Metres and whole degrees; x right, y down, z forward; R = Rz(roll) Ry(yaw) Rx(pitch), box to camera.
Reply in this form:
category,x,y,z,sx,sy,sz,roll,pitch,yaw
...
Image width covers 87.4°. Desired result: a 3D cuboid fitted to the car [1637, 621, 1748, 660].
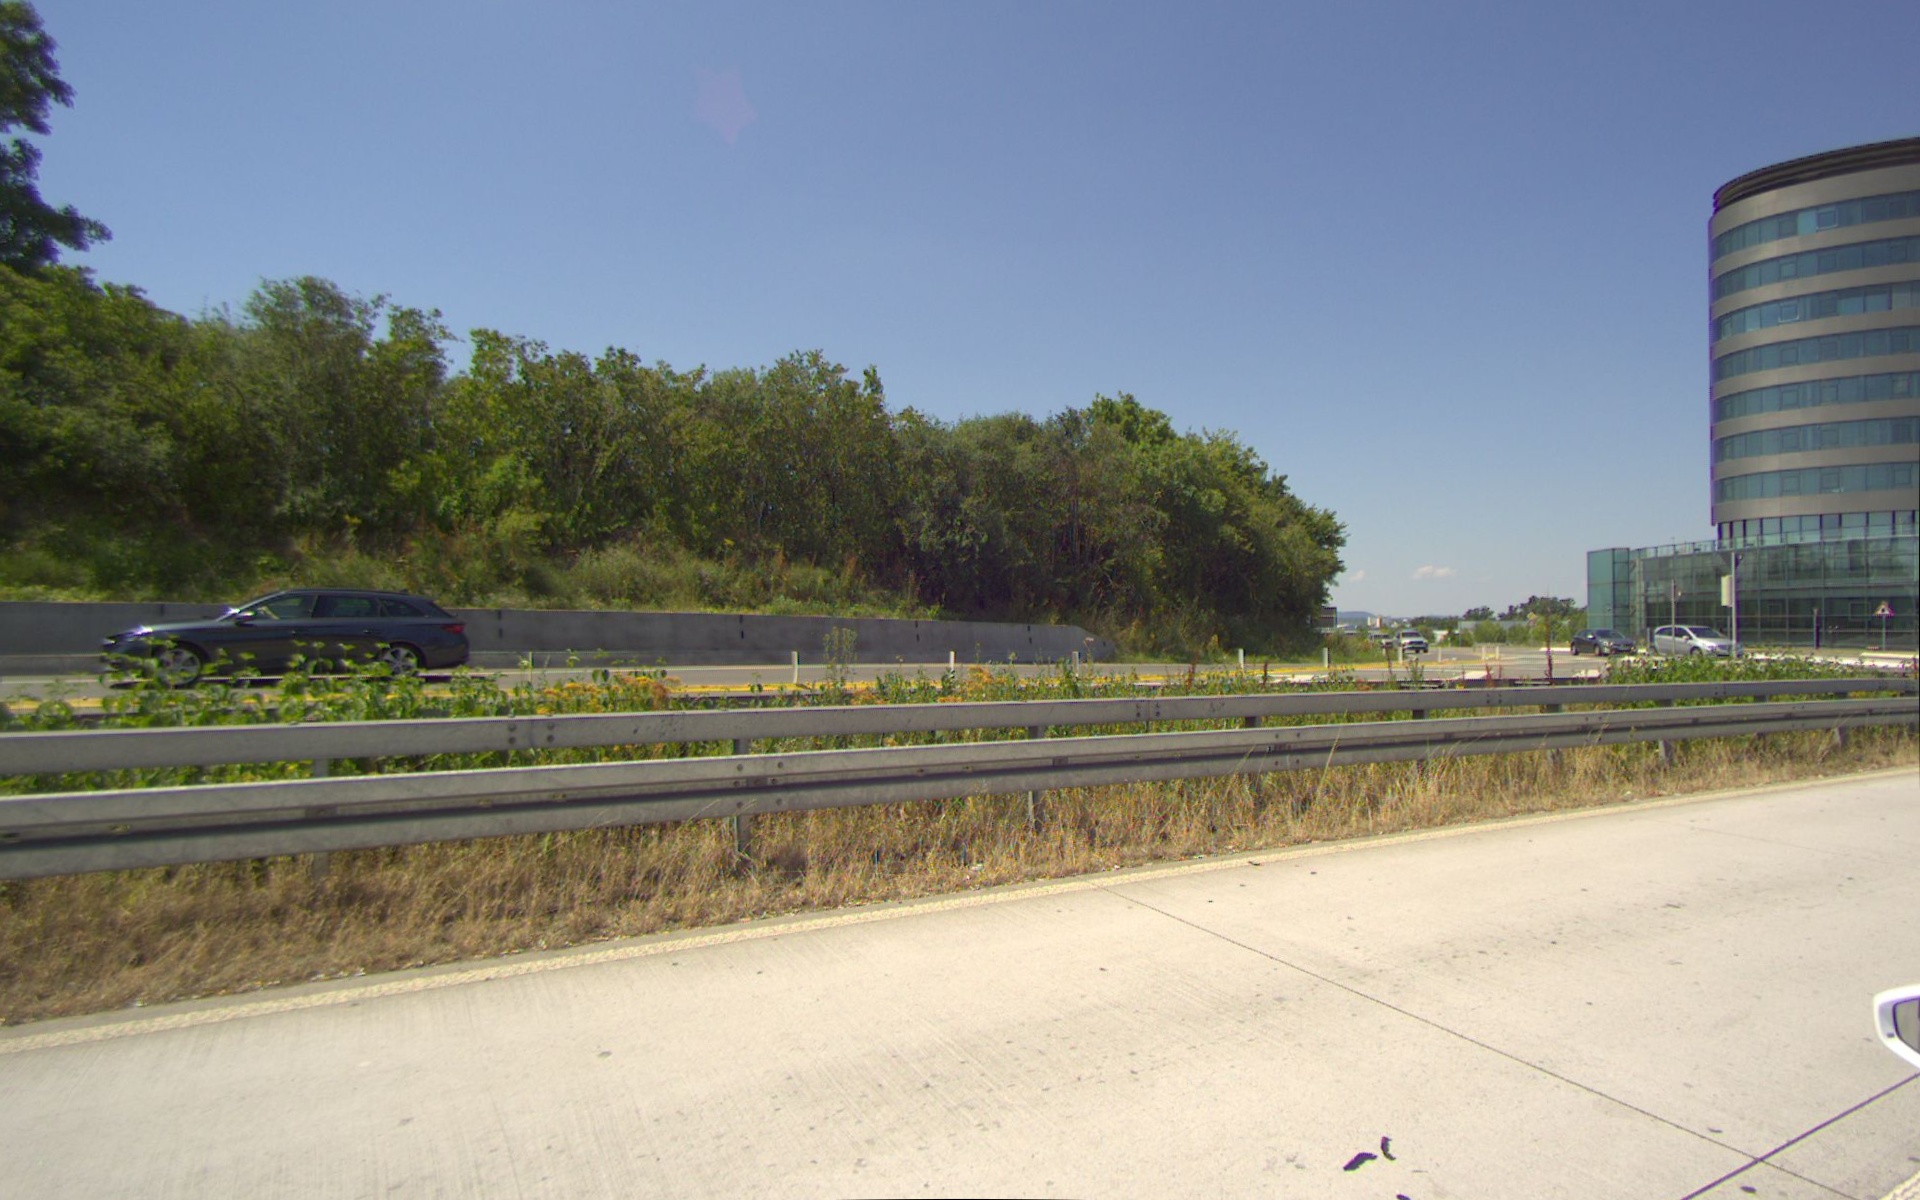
category,x,y,z,sx,sy,sz,roll,pitch,yaw
car,32.855,1.832,45.189,1.742,1.616,4.329,2,-2,-2

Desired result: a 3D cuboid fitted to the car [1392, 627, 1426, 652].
category,x,y,z,sx,sy,sz,roll,pitch,yaw
car,34.141,2.970,76.514,1.960,1.796,4.858,1,-1,19

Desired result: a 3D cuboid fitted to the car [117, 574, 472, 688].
category,x,y,z,sx,sy,sz,roll,pitch,yaw
car,-9.920,0.469,15.253,4.253,1.504,1.699,2,0,-36

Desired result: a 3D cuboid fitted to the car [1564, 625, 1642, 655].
category,x,y,z,sx,sy,sz,roll,pitch,yaw
car,33.738,2.108,52.851,1.663,1.475,4.333,2,-2,6
